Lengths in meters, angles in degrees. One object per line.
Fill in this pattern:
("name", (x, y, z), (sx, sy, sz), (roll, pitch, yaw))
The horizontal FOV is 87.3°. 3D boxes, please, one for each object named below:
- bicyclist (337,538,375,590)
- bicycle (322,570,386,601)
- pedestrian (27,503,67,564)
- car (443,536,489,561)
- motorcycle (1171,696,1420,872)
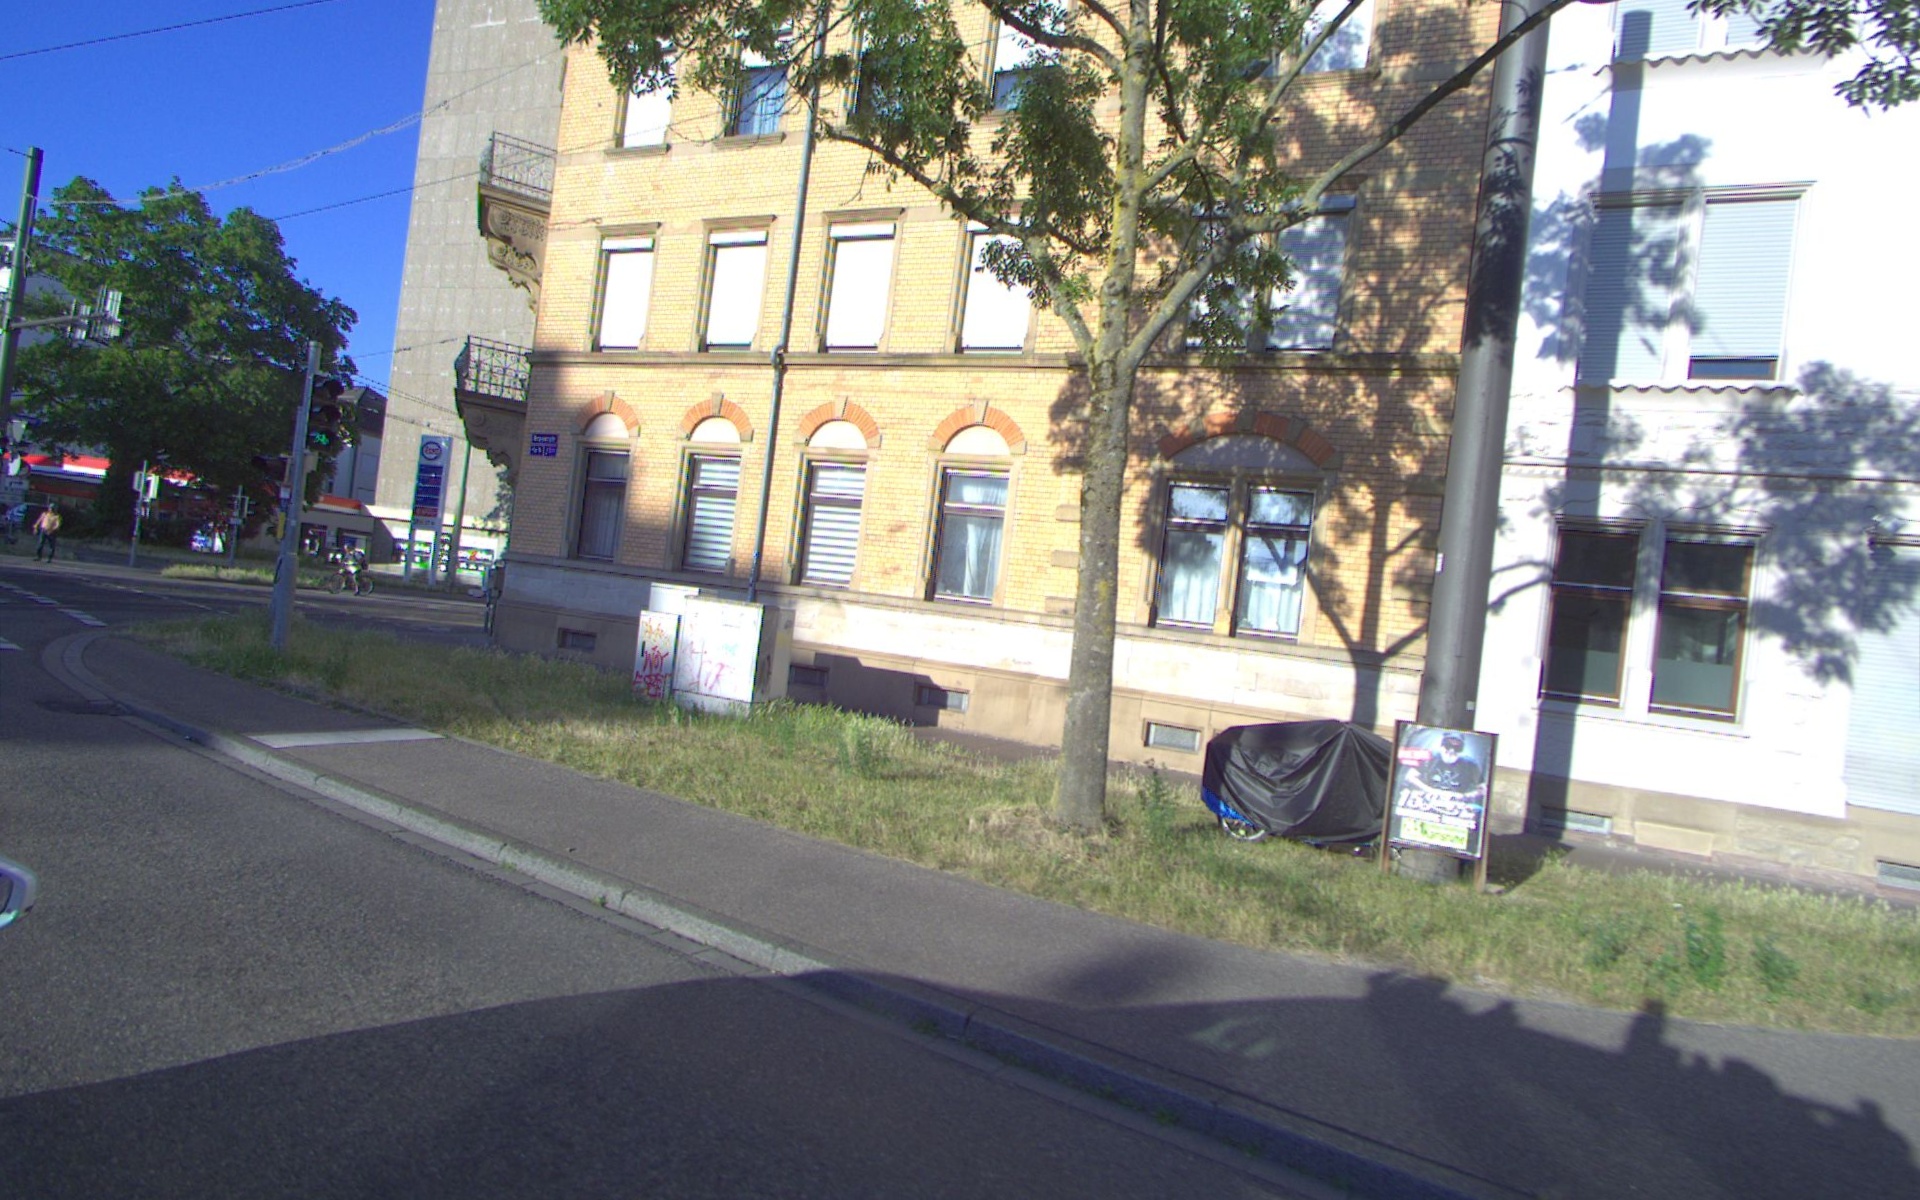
("bicyclist", (-20.021, -1.198, 33.339), (0.625, 1.602, 0.696), (7, 0, 16))
("bicycle", (-20.069, -0.478, 33.361), (0.611, 0.838, 1.817), (7, -1, 16))
("pedestrian", (-26.176, -1.896, 28.853), (0.688, 1.648, 0.552), (7, 0, 34))
("car", (-51.949, -5.448, 105.857), (3.925, 2.037, 2.001), (7, -1, 19))
("motorcycle", (2.690, 1.431, 8.135), (1.715, 1.056, 0.605), (7, -1, 32))
